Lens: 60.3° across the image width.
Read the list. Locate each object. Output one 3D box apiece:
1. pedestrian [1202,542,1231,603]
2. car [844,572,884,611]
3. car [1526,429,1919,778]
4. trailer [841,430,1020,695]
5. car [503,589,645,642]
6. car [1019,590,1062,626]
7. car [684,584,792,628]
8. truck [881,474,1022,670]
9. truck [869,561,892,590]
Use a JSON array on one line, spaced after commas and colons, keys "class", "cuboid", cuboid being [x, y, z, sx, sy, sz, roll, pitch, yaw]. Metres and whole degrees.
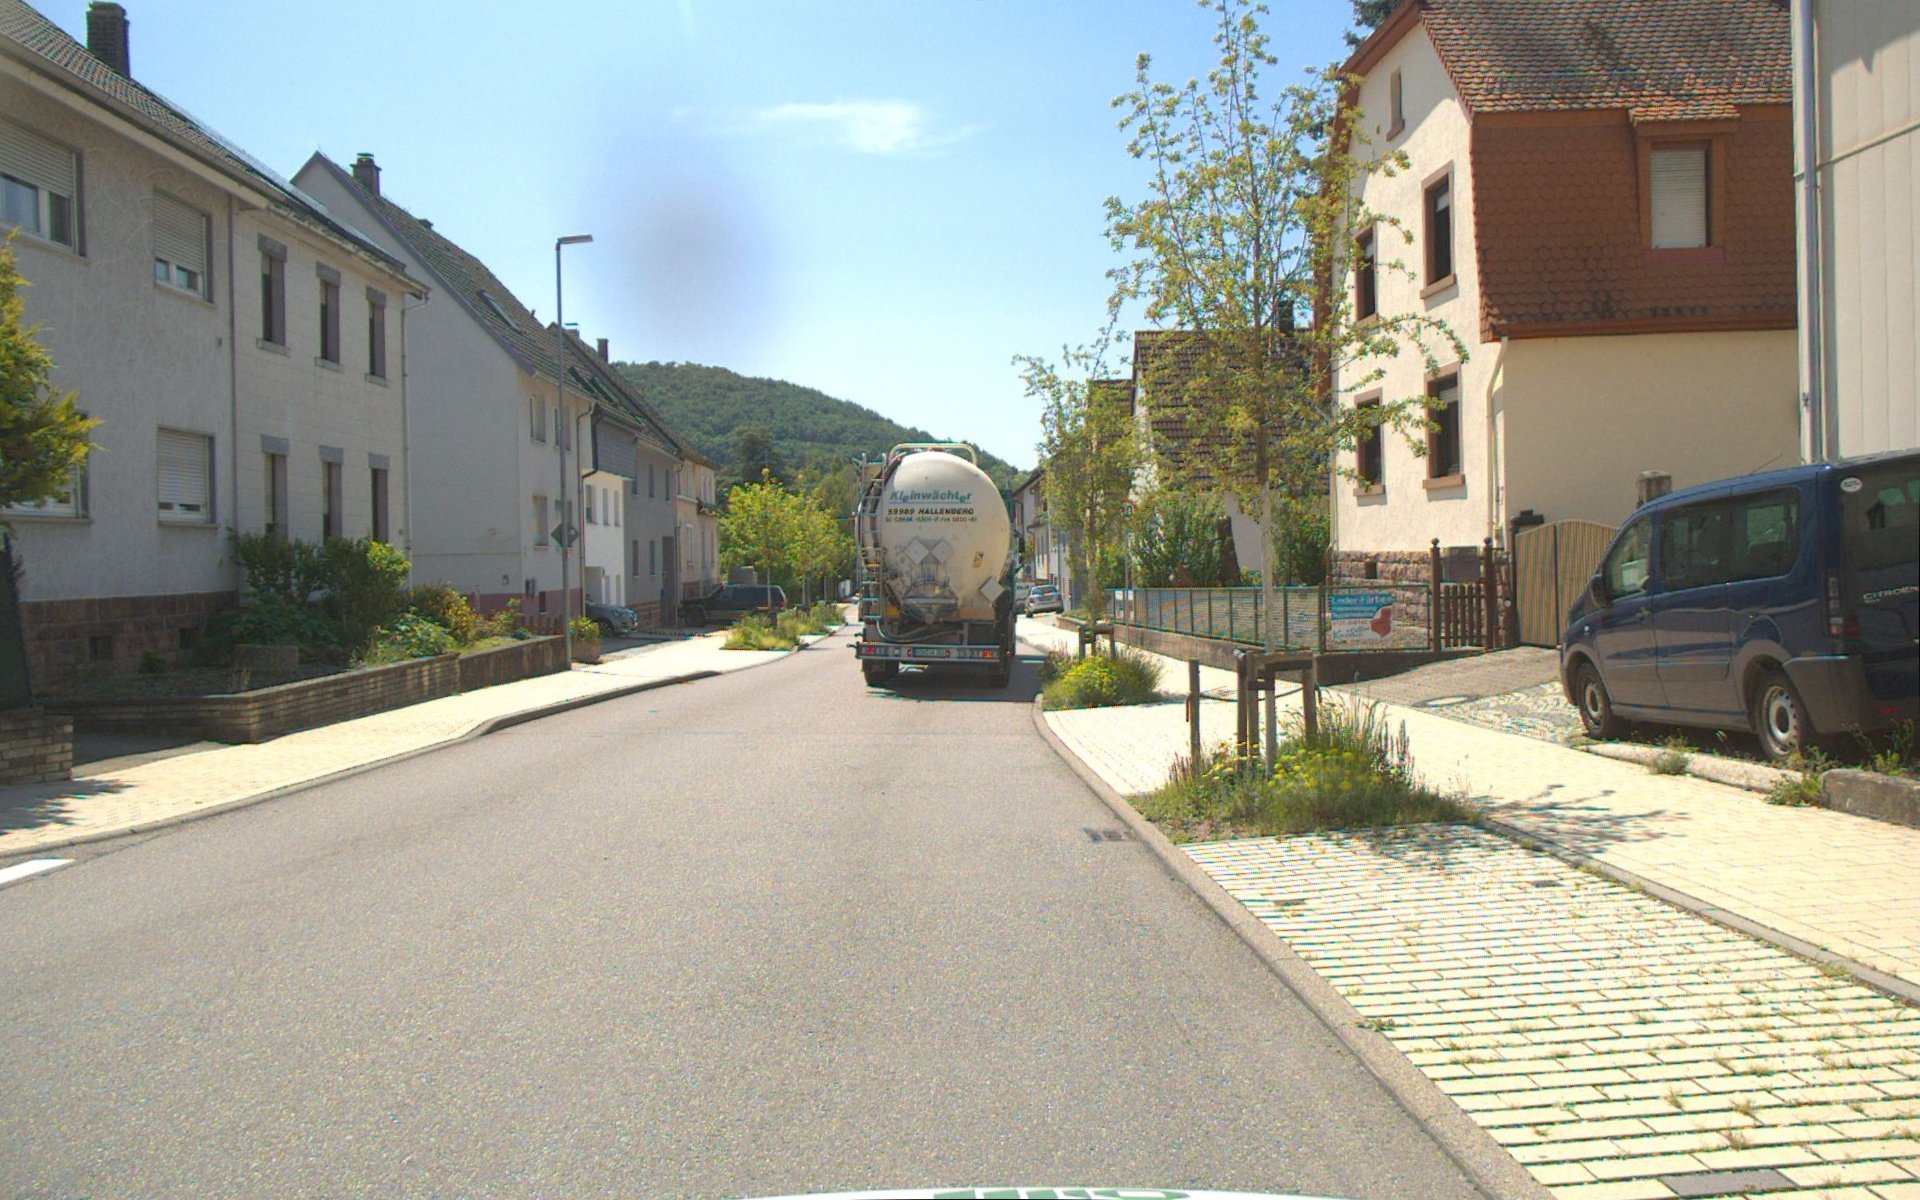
[{"class": "pedestrian", "cuboid": [7.227, -0.781, 46.610, 0.592, 1.643, 0.552, -6, 0, -2]}, {"class": "car", "cuboid": [-4.963, -0.447, 86.139, 1.851, 1.893, 4.576, 3, 0, -2]}, {"class": "car", "cuboid": [5.988, -0.039, 12.149, 1.815, 2.005, 4.772, -5, 0, -1]}, {"class": "trailer", "cuboid": [-0.320, -0.594, 30.755, 2.738, 4.071, 10.325, 1, 0, 1]}, {"class": "car", "cuboid": [-11.812, 0.463, 50.784, 3.906, 1.572, 1.832, 0, 0, -1]}, {"class": "car", "cuboid": [3.880, 0.385, 80.455, 1.754, 1.568, 4.519, -4, 0, 0]}, {"class": "car", "cuboid": [-9.307, 0.233, 69.618, 4.306, 1.781, 1.877, -1, 0, -3]}, {"class": "truck", "cuboid": [-0.069, -0.589, 37.139, 2.749, 4.006, 6.101, 1, 0, 3]}, {"class": "truck", "cuboid": [-9.542, -2.965, 199.908, 2.674, 3.430, 8.631, 0, 0, -2]}]
